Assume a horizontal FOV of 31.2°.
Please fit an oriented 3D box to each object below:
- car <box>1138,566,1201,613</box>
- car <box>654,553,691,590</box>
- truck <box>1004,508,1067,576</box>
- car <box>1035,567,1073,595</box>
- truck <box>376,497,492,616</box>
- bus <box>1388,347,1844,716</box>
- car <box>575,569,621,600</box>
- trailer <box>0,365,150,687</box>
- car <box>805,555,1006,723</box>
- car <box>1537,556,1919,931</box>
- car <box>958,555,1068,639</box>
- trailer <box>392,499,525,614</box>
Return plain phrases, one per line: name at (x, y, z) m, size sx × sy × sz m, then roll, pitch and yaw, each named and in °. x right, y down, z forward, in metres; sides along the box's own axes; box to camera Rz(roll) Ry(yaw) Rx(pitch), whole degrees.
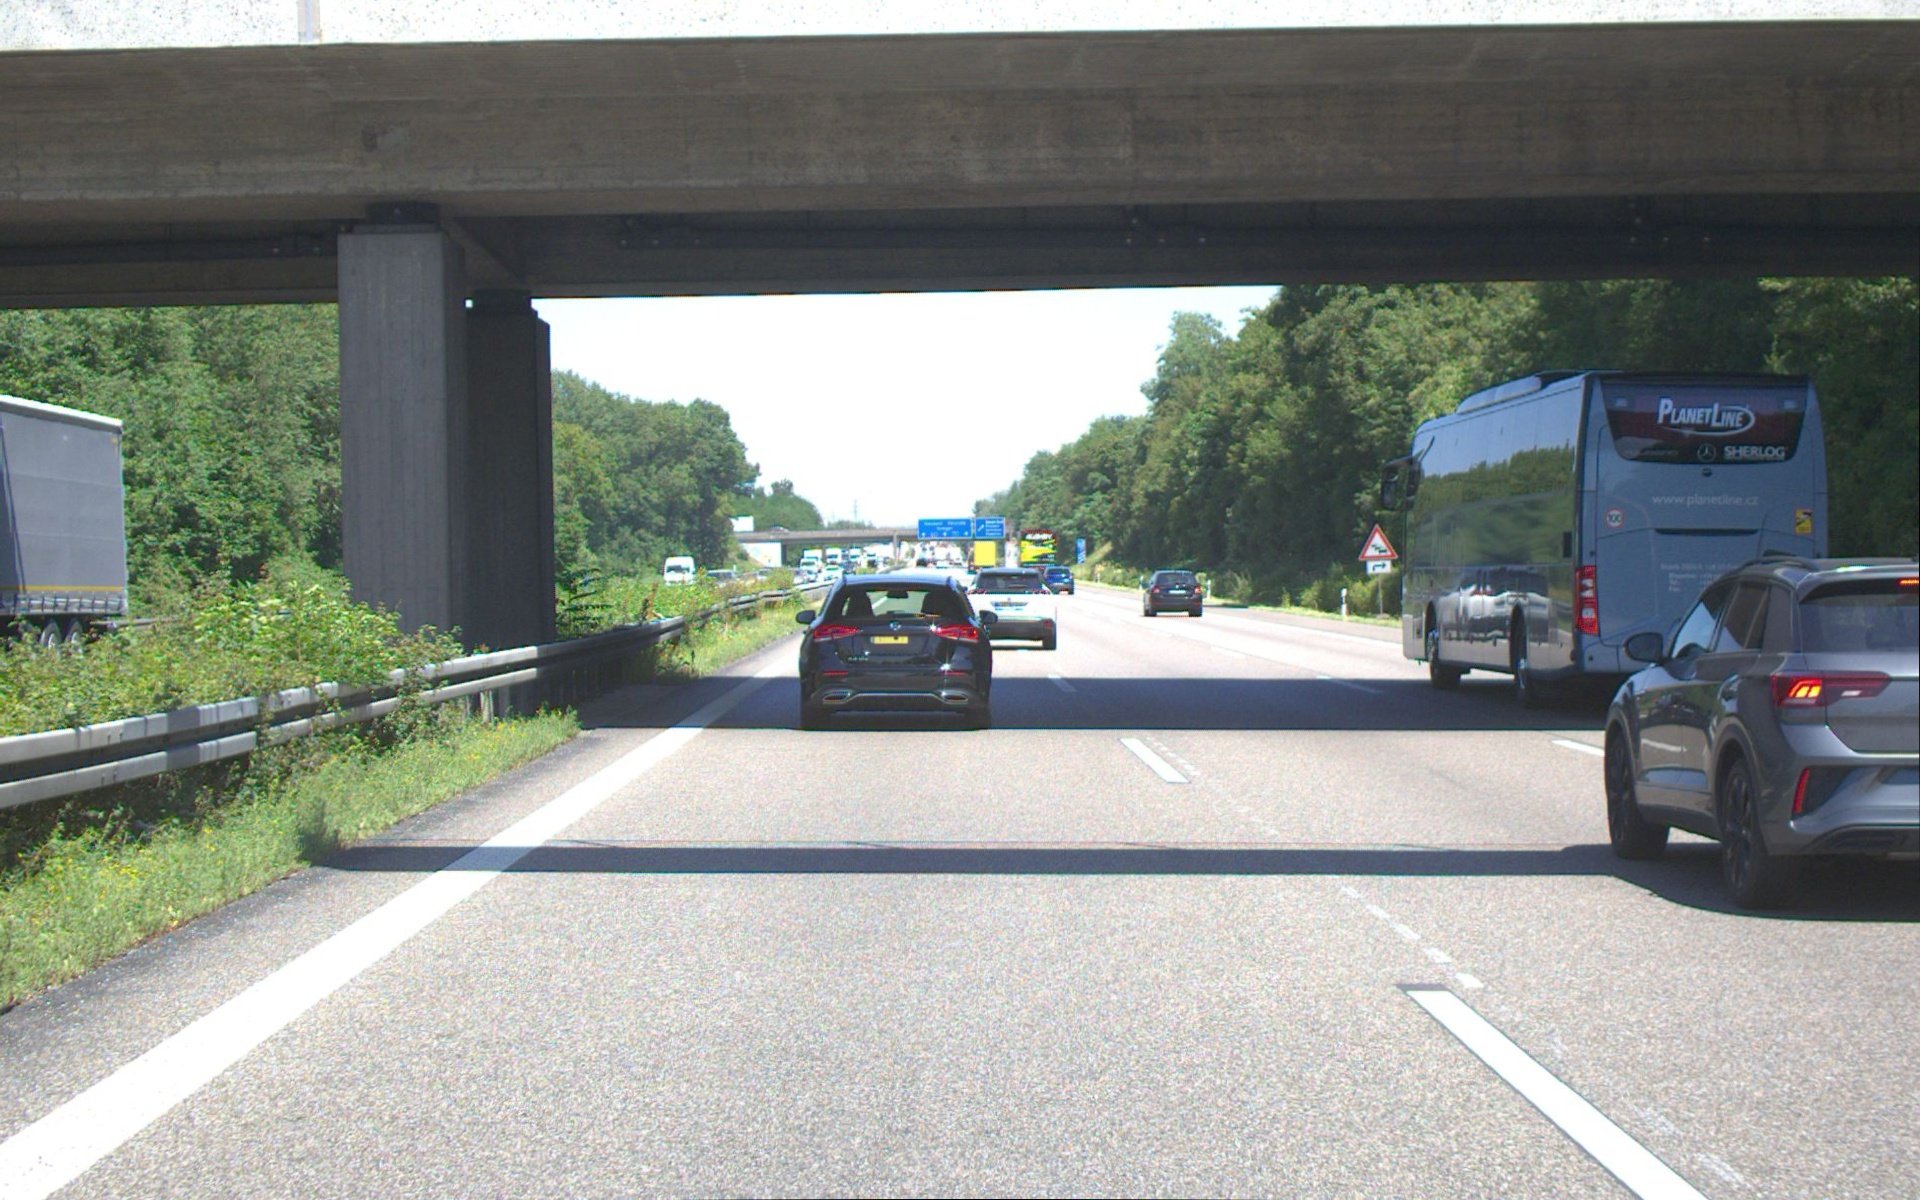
car at (6.671, -0.349, 109.624) m, size 1.789 × 1.456 × 3.949 m, roll 0°, pitch 1°, yaw 0°
car at (-20.219, -2.036, 242.112) m, size 2.087 × 2.543 × 6.227 m, roll -2°, pitch 1°, yaw 0°
truck at (5.224, -4.013, 242.213) m, size 3.647 × 4.574 × 15.768 m, roll 1°, pitch 0°, yaw -1°
car at (5.248, -1.068, 192.549) m, size 2.081 × 1.527 × 4.241 m, roll 0°, pitch 1°, yaw 0°
truck at (-18.545, -1.523, 121.535) m, size 3.217 × 4.045 × 5.618 m, roll -1°, pitch 1°, yaw -1°
bus at (7.156, -0.736, 39.679) m, size 2.802 × 3.584 × 12.475 m, roll 0°, pitch 1°, yaw 0°
car at (-17.921, -0.797, 170.289) m, size 1.848 × 1.445 × 4.872 m, roll -2°, pitch 1°, yaw -1°
trailer at (-13.941, -0.935, 46.068) m, size 2.828 × 4.210 × 13.836 m, roll -2°, pitch 1°, yaw 0°
car at (-0.543, 0.323, 32.937) m, size 1.799 × 1.497 × 4.242 m, roll 0°, pitch 1°, yaw -1°
car at (4.182, 0.562, 16.511) m, size 1.899 × 1.527 × 4.760 m, roll 0°, pitch 1°, yaw -1°
car at (0.968, -0.081, 64.941) m, size 1.899 × 1.527 × 4.242 m, roll 0°, pitch 1°, yaw -1°
trailer at (-18.656, -1.599, 128.732) m, size 3.217 × 4.045 × 12.742 m, roll -1°, pitch 1°, yaw -1°
